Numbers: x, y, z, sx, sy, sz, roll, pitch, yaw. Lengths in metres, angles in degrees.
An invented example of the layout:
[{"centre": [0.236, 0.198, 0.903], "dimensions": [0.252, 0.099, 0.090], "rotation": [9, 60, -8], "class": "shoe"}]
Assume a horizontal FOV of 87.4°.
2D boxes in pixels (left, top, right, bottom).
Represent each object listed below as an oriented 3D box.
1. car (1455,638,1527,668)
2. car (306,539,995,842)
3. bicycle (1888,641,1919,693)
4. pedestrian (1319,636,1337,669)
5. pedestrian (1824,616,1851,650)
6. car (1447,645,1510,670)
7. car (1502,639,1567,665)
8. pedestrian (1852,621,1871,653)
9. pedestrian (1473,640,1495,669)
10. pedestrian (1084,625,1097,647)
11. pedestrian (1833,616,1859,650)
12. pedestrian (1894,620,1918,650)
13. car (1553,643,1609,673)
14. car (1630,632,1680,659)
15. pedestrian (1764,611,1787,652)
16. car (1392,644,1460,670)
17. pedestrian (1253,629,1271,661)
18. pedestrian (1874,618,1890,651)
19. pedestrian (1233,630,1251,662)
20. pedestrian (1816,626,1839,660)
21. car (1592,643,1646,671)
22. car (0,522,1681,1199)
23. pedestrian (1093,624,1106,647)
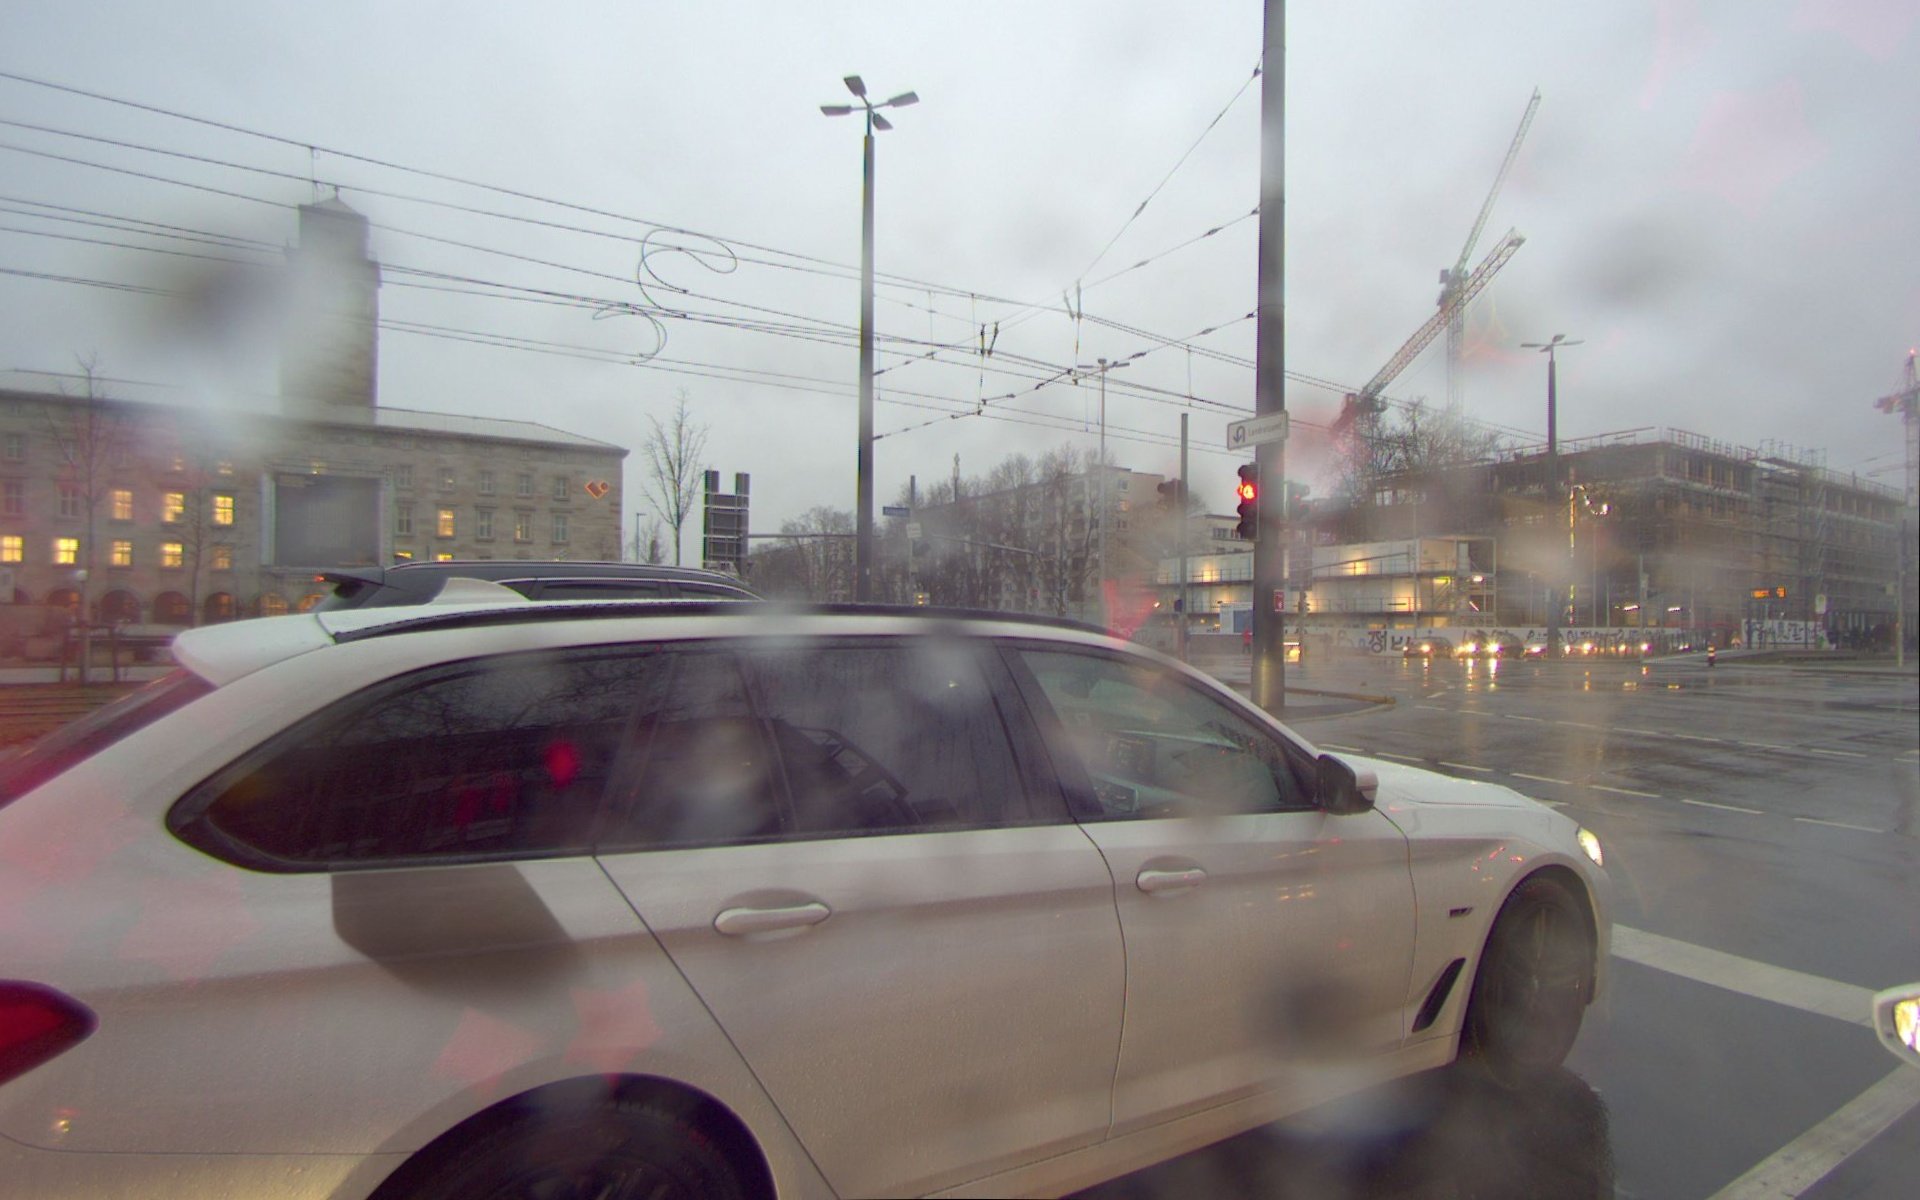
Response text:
[{"centre": [31.259, 3.106, 59.098], "dimensions": [3.953, 1.679, 1.984], "rotation": [2, -2, -30], "class": "car"}, {"centre": [-2.064, 0.552, 7.232], "dimensions": [4.238, 1.605, 1.958], "rotation": [2, -1, -29], "class": "car"}, {"centre": [21.915, 1.514, 21.614], "dimensions": [0.740, 1.114, 2.827], "rotation": [2, 0, -44], "class": "bicycle"}, {"centre": [24.695, 3.510, 67.420], "dimensions": [0.758, 2.194, 0.867], "rotation": [2, 0, -38], "class": "pedestrian"}, {"centre": [53.940, 2.009, 61.737], "dimensions": [1.082, 2.040, 0.937], "rotation": [2, 0, -32], "class": "pedestrian"}, {"centre": [34.932, 3.857, 67.669], "dimensions": [3.953, 1.550, 1.984], "rotation": [2, -2, -30], "class": "car"}, {"centre": [35.888, 3.245, 62.714], "dimensions": [4.577, 1.550, 2.059], "rotation": [2, -2, -40], "class": "car"}, {"centre": [54.135, 2.226, 60.337], "dimensions": [0.547, 1.906, 0.695], "rotation": [2, 0, -30], "class": "pedestrian"}, {"centre": [26.269, 2.743, 50.387], "dimensions": [0.710, 1.407, 0.730], "rotation": [2, 0, 0], "class": "pedestrian"}, {"centre": [10.762, 2.993, 82.942], "dimensions": [0.714, 1.800, 0.789], "rotation": [1, -1, -23], "class": "pedestrian"}, {"centre": [55.332, 2.057, 62.714], "dimensions": [1.082, 2.040, 0.937], "rotation": [2, 0, -32], "class": "pedestrian"}, {"centre": [65.674, 2.405, 69.729], "dimensions": [1.082, 2.040, 0.937], "rotation": [2, 0, -32], "class": "pedestrian"}, {"centre": [41.098, 3.806, 66.433], "dimensions": [3.963, 1.852, 1.852], "rotation": [2, 0, -37], "class": "car"}, {"centre": [51.001, 3.331, 73.683], "dimensions": [3.965, 1.814, 1.978], "rotation": [2, 0, -39], "class": "car"}, {"centre": [47.062, 1.818, 57.985], "dimensions": [0.754, 2.354, 0.761], "rotation": [3, -1, -30], "class": "pedestrian"}, {"centre": [29.508, 3.610, 63.592], "dimensions": [3.953, 1.550, 1.984], "rotation": [2, -2, -30], "class": "car"}, {"centre": [19.760, 2.961, 65.664], "dimensions": [0.737, 2.040, 0.783], "rotation": [2, 0, -25], "class": "pedestrian"}, {"centre": [57.978, 2.162, 63.175], "dimensions": [0.659, 1.994, 0.566], "rotation": [2, 1, -36], "class": "pedestrian"}, {"centre": [18.489, 3.018, 65.832], "dimensions": [0.620, 2.040, 0.856], "rotation": [2, 0, -37], "class": "pedestrian"}, {"centre": [51.102, 2.518, 59.147], "dimensions": [0.754, 1.922, 0.761], "rotation": [3, -1, -30], "class": "pedestrian"}, {"centre": [46.379, 3.989, 70.678], "dimensions": [3.965, 1.814, 1.978], "rotation": [2, 0, -39], "class": "car"}, {"centre": [0.018, 0.725, 3.111], "dimensions": [4.508, 1.506, 2.007], "rotation": [2, -2, -31], "class": "car"}, {"centre": [11.580, 2.976, 83.512], "dimensions": [0.709, 1.927, 0.787], "rotation": [1, -1, -31], "class": "pedestrian"}]
